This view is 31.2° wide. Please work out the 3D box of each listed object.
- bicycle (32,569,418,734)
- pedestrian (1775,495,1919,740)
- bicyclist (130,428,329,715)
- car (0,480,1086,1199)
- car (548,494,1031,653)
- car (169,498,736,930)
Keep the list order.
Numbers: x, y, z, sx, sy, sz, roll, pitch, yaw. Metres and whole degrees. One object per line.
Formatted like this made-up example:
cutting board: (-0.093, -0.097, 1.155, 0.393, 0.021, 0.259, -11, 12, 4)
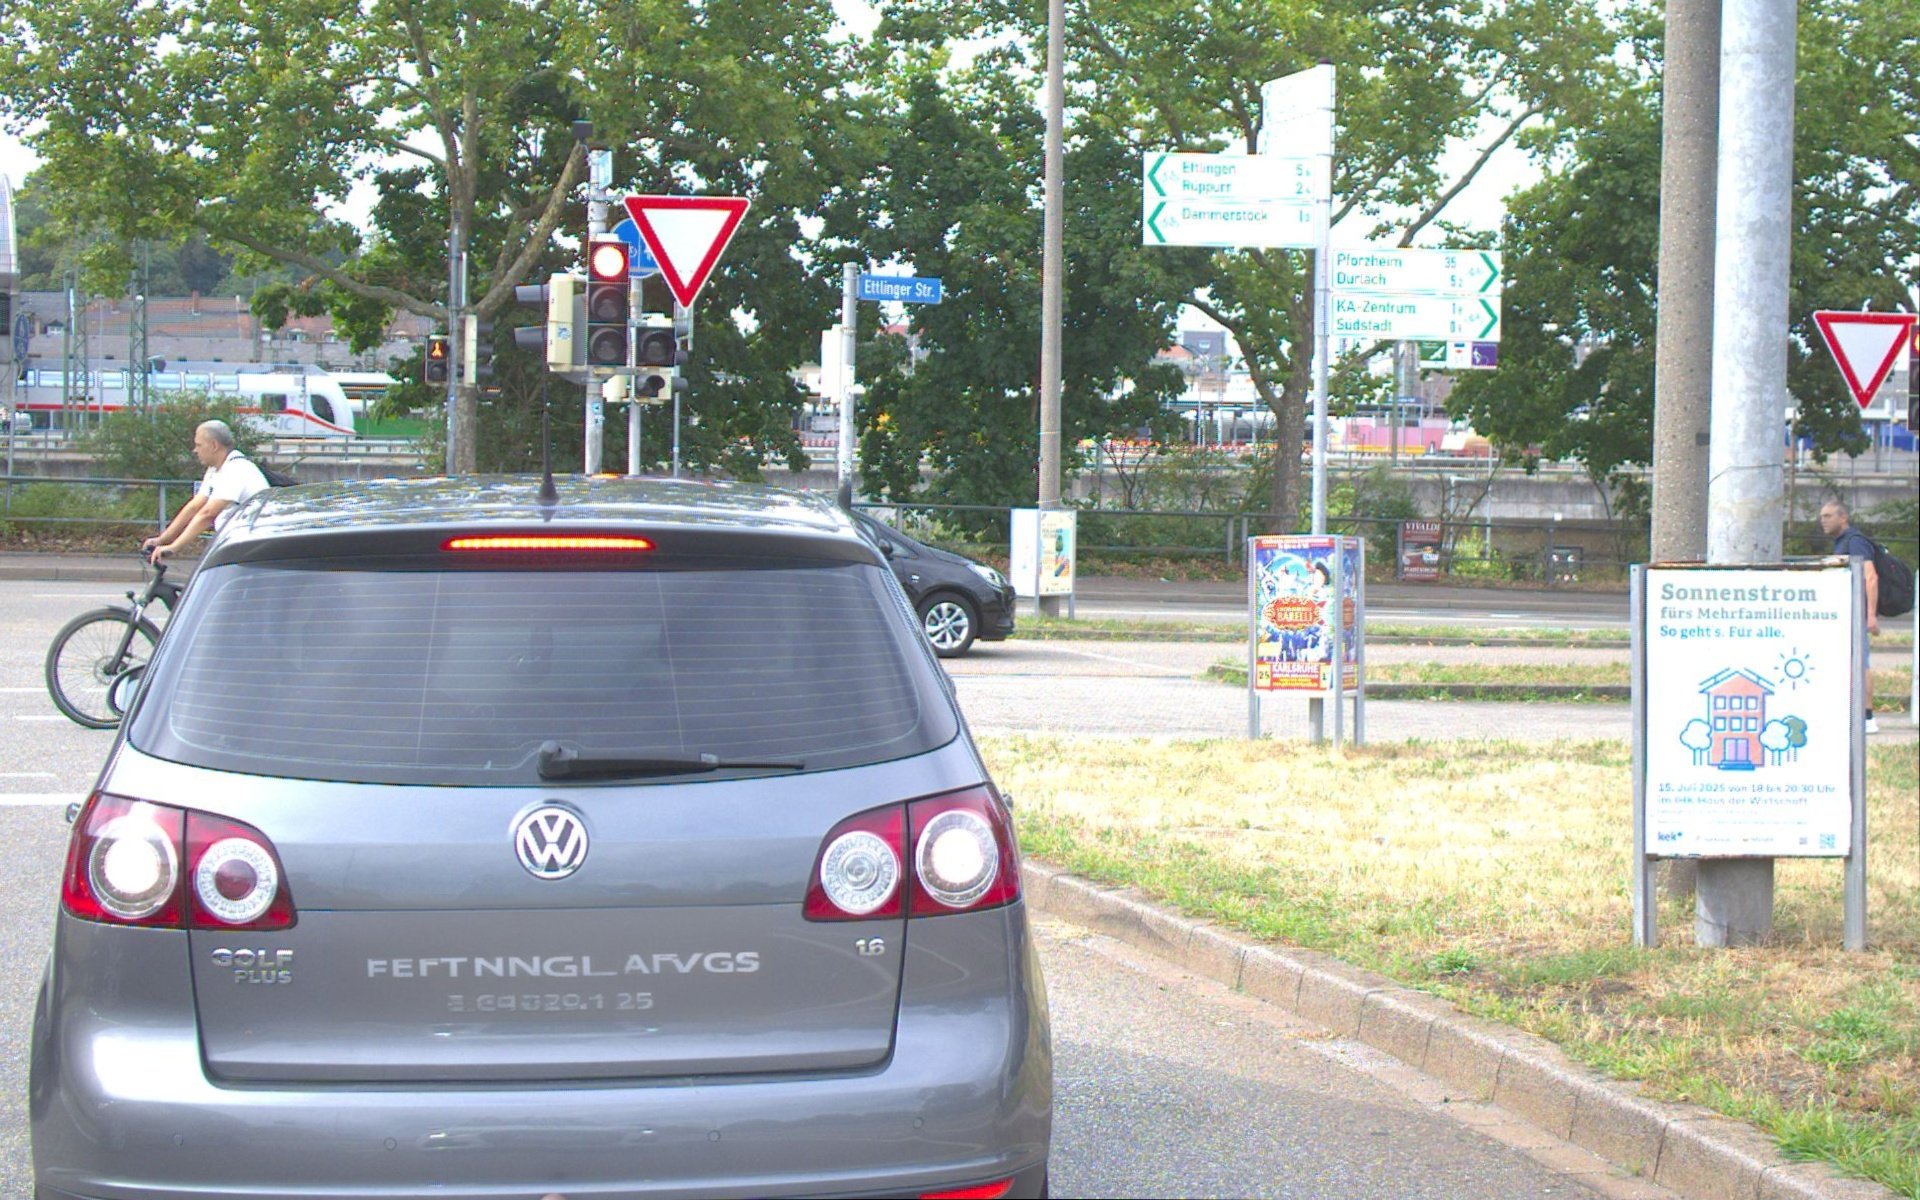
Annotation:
bicycle: (-4.451, 0.300, 20.802, 2.227, 0.949, 0.812, 0, 2, -16)
pedestrian: (6.497, 0.107, 24.884, 1.048, 1.704, 0.853, 2, 2, 17)
bicyclist: (-4.430, -0.178, 20.809, 1.112, 1.690, 0.813, 0, 2, -17)
car: (-0.971, 0.544, 7.230, 1.740, 1.541, 4.083, 0, 1, -8)
car: (-1.559, -0.245, 31.158, 4.056, 1.363, 1.703, 0, 2, -18)
car: (-2.201, 0.337, 13.946, 1.740, 1.477, 4.083, 0, 1, -16)
